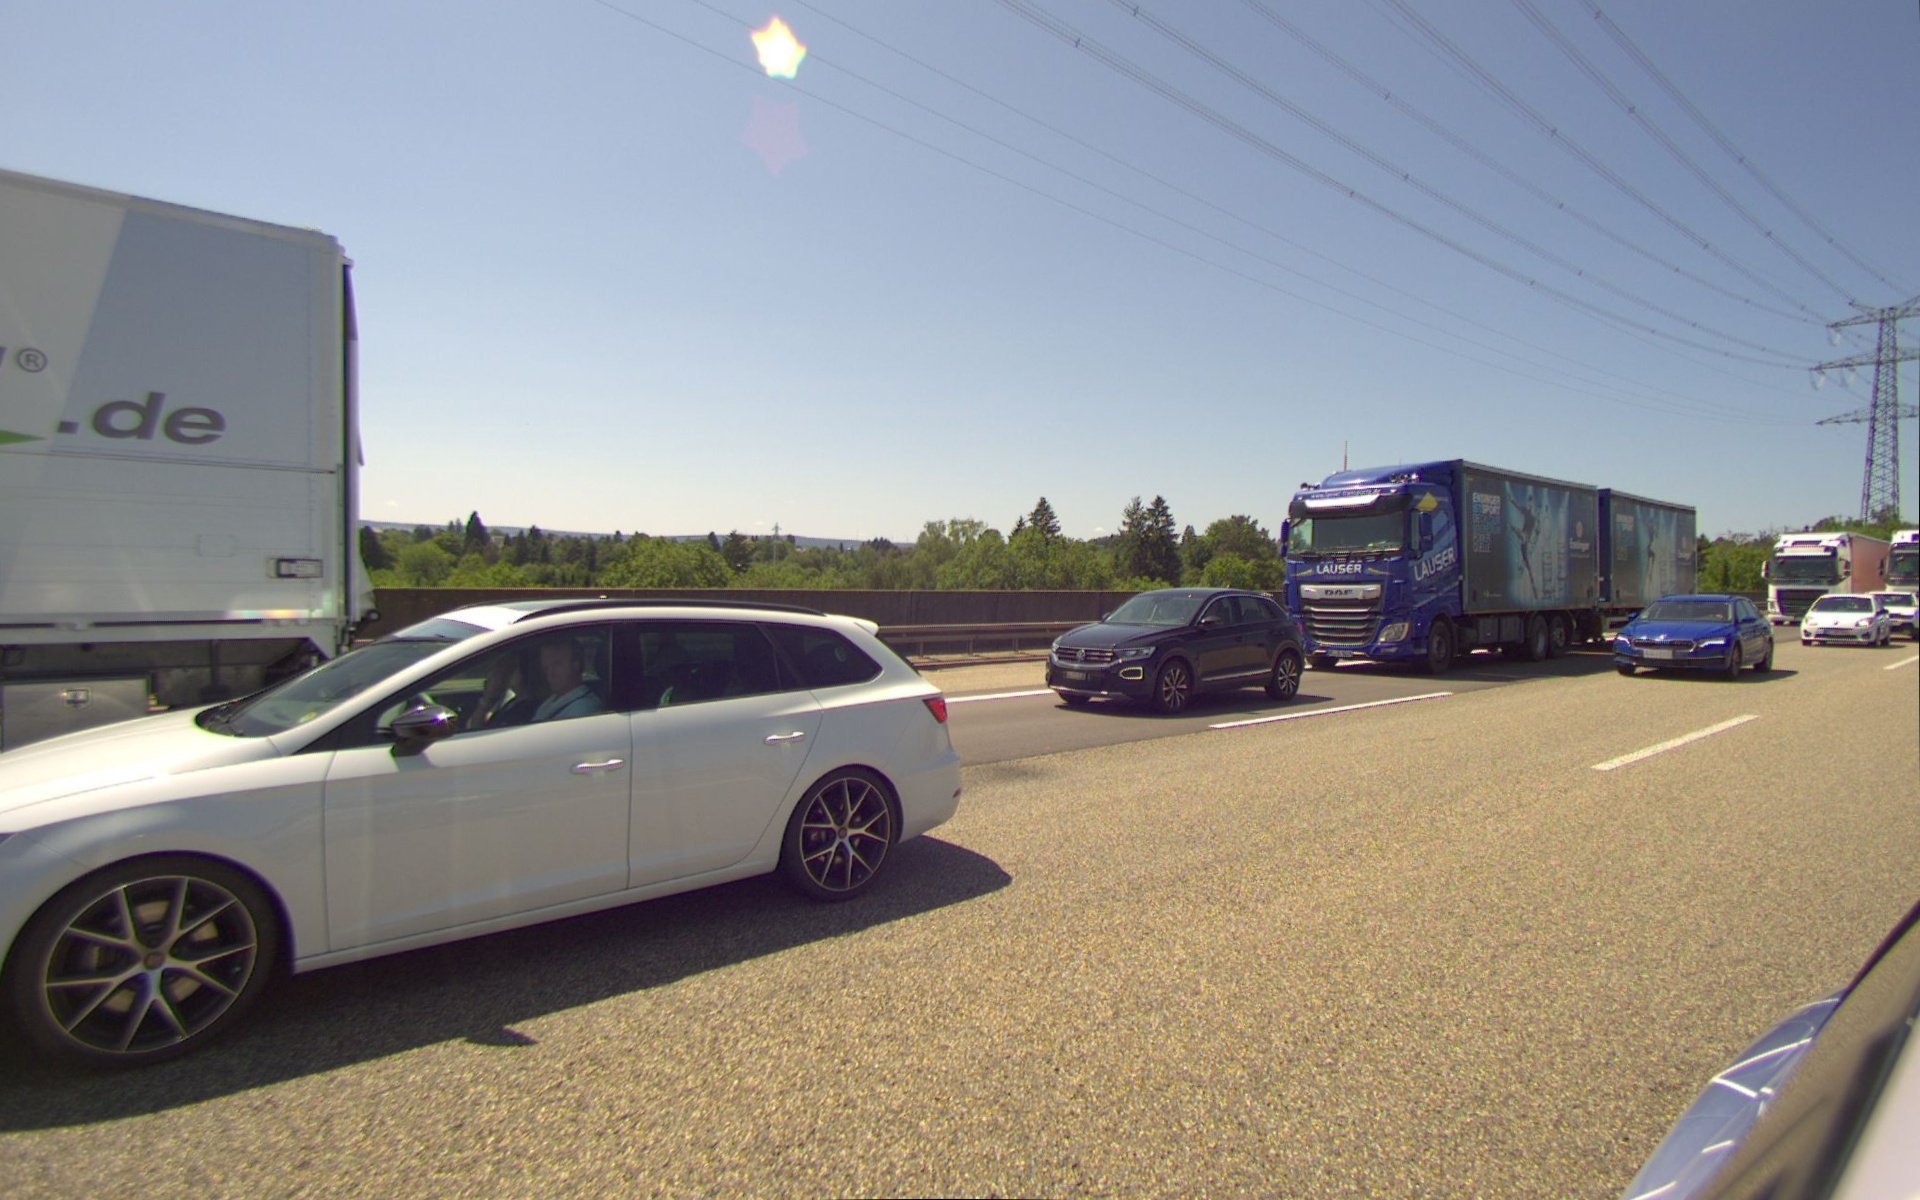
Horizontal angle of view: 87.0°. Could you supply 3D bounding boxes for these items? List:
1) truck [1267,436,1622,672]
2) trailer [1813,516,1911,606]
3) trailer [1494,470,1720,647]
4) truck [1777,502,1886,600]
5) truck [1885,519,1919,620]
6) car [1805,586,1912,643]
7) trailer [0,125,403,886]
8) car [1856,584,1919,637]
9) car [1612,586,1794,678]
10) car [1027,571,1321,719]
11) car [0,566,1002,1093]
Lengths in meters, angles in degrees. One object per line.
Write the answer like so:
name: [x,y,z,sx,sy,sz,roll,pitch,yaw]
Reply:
truck: [10.684,-0.871,21.518,10.211,3.999,2.857,-1,1,-40]
trailer: [45.331,-1.902,50.760,8.928,4.169,2.606,-1,0,-41]
trailer: [17.828,-1.055,27.601,8.486,4.140,2.833,-1,0,-40]
truck: [38.957,-2.080,45.130,8.122,4.037,2.606,-1,0,-41]
truck: [40.429,-1.250,41.261,8.117,3.874,2.848,-1,0,-39]
car: [25.375,0.366,28.539,4.071,1.470,1.711,-1,1,-40]
trailer: [-7.546,-0.455,4.894,8.072,3.940,2.903,-1,1,-41]
car: [29.610,0.296,31.708,4.071,1.528,1.711,-1,1,-40]
car: [13.771,0.500,18.652,4.483,1.470,1.711,-1,1,-40]
car: [2.948,0.475,13.492,4.045,1.675,1.711,-1,1,-40]
car: [-1.964,0.635,4.608,4.352,1.470,1.711,0,0,-41]
